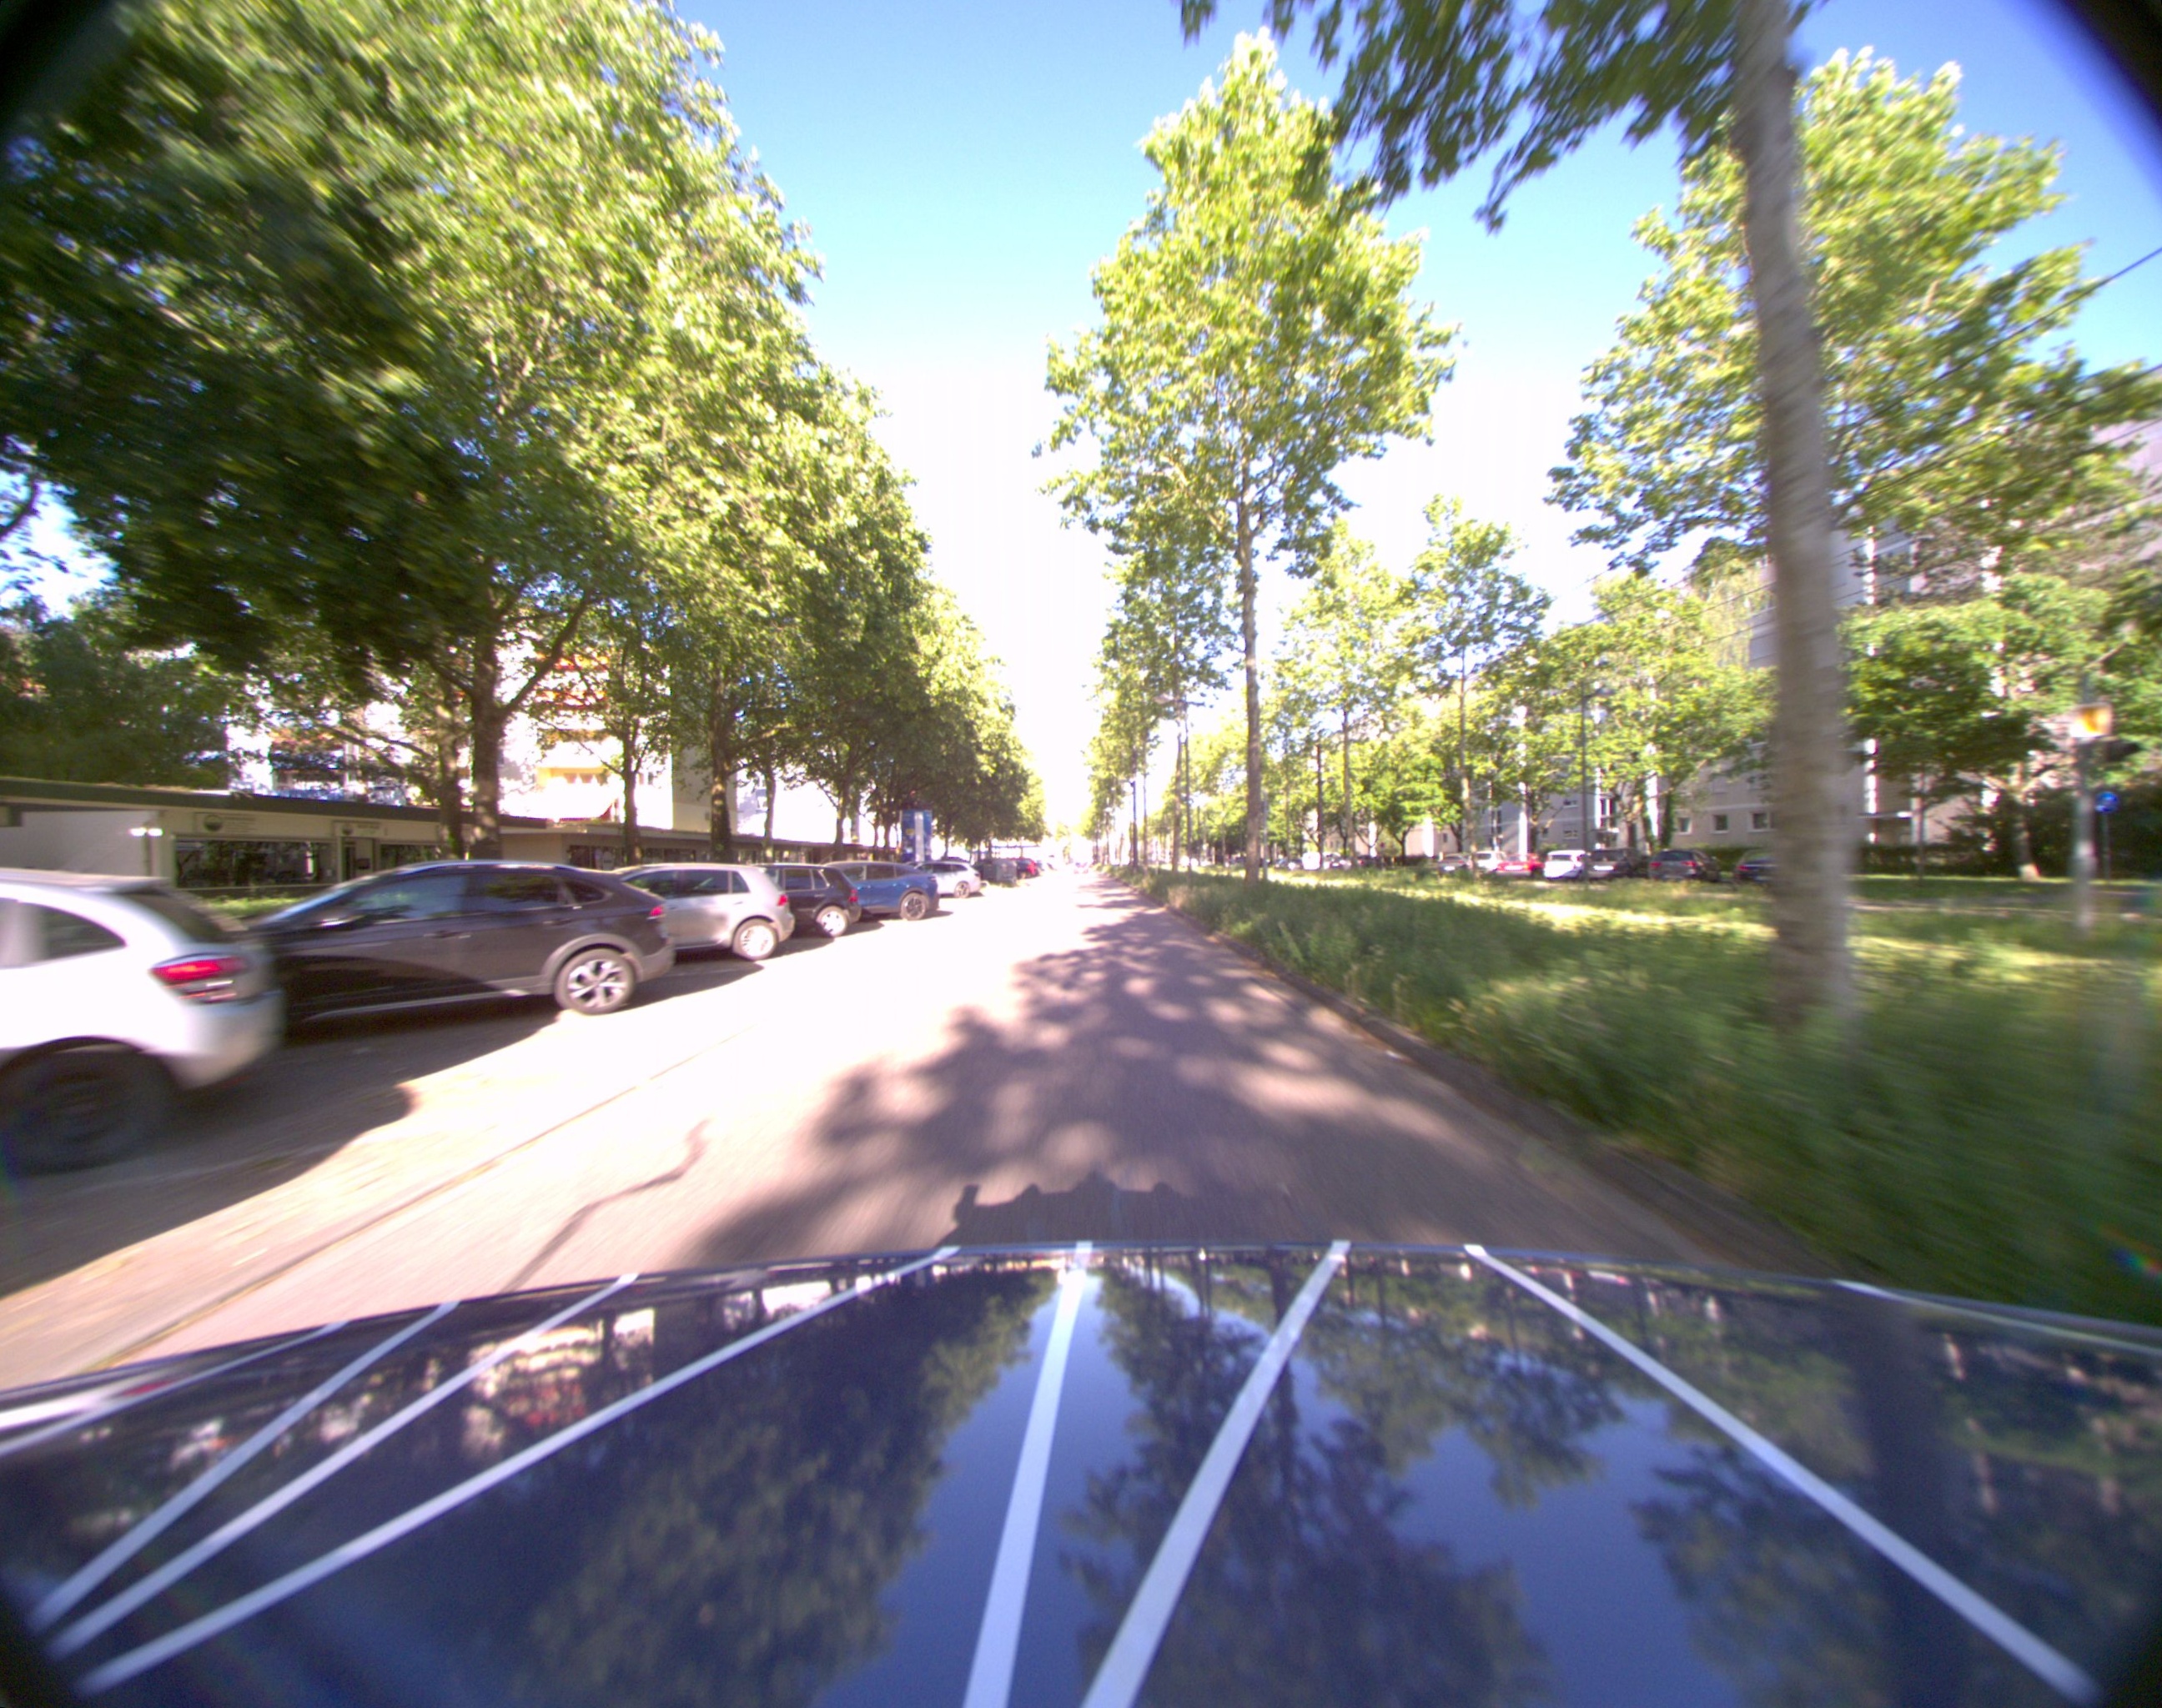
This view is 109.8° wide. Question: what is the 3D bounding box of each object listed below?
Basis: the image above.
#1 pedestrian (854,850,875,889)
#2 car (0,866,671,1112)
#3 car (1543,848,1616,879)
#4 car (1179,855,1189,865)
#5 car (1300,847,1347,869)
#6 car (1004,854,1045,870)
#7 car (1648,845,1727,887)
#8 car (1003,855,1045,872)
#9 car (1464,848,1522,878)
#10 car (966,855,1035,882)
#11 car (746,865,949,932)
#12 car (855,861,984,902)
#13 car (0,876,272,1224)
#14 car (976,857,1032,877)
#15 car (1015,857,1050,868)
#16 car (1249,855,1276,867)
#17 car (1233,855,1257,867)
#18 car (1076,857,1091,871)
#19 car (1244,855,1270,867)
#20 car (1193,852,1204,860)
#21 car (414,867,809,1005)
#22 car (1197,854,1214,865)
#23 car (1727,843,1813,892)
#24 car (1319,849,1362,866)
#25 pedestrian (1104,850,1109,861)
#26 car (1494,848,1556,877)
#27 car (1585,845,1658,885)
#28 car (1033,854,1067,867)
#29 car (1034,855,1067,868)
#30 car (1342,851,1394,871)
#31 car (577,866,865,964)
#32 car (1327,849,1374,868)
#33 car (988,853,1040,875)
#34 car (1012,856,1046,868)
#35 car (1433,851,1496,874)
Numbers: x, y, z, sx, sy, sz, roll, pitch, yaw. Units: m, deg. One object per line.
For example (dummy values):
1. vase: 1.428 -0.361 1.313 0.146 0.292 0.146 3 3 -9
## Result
1. pedestrian: -10.611 0.755 37.281 0.875 1.903 0.871 -1 0 -8
2. car: -6.490 0.913 6.806 4.634 1.561 1.851 0 0 -44
3. car: 25.294 0.461 38.494 4.495 1.473 1.613 -1 0 -36
4. car: 22.944 1.356 169.906 1.718 2.249 3.933 -1 0 0
5. car: 23.800 0.378 74.536 4.808 1.994 1.888 -1 -1 -38
6. car: -5.462 0.783 74.026 3.795 1.461 1.646 0 0 -43
7. car: 24.554 0.431 30.688 4.496 1.559 1.790 -1 0 -42
8. car: -5.771 0.979 77.714 4.036 1.695 1.756 0 0 -41
9. car: 24.377 0.489 44.937 3.987 1.665 1.782 -1 0 -42
10. car: -5.257 0.925 49.990 4.329 1.707 1.631 -1 0 -38
11. car: -5.573 0.986 18.495 4.339 1.416 1.851 0 0 -43
12. car: -6.076 0.982 28.941 4.503 1.435 1.851 0 0 -43
13. car: -6.802 0.953 3.115 4.634 1.561 1.851 -1 0 -43
14. car: -5.974 1.012 59.234 4.093 1.472 1.647 0 0 -35
15. car: -6.062 1.032 94.639 4.194 1.404 1.715 0 0 -43
16. car: 24.473 0.963 102.459 1.647 1.466 4.094 -7 -4 43
17. car: 23.713 0.938 109.844 1.646 1.636 4.093 1 2 41
18. car: 0.317 1.154 87.823 1.619 1.536 4.278 -1 0 1
19. car: 24.666 0.971 106.537 1.647 1.636 4.094 -4 -3 45
20. car: 24.287 0.481 157.055 1.718 1.536 3.934 -1 0 3
21. car: -6.471 0.967 10.835 4.471 1.442 1.914 0 1 -44
22. car: 19.253 0.829 117.632 1.929 1.497 4.085 -2 0 -1
23. car: 24.069 0.422 26.488 4.496 1.559 1.790 -1 0 -42
24. car: 24.499 0.333 71.765 4.091 1.424 1.576 -3 0 -34
25. pedestrian: 4.550 0.237 133.918 0.799 1.874 0.928 -1 0 4
26. car: 24.004 0.434 41.021 3.929 1.479 1.790 -1 0 -42
27. car: 24.470 0.448 34.337 4.496 1.665 1.790 -1 0 -42
28. car: -4.507 0.898 110.613 4.680 1.842 1.825 0 0 -40
29. car: -4.304 1.042 106.393 4.512 1.695 1.756 0 0 -41
30. car: 24.271 0.578 64.279 4.092 1.597 1.991 -1 -3 -34
31. car: -6.560 0.995 14.151 4.471 1.442 1.914 0 1 -42
32. car: 24.083 0.391 67.785 4.092 1.521 1.814 -1 -2 -34
33. car: -5.570 0.806 63.553 4.093 1.800 1.646 0 0 -39
34. car: -6.218 0.936 91.731 3.947 1.365 1.583 0 0 -43
35. car: 24.337 0.508 48.179 4.139 1.330 1.791 -1 1 -34
